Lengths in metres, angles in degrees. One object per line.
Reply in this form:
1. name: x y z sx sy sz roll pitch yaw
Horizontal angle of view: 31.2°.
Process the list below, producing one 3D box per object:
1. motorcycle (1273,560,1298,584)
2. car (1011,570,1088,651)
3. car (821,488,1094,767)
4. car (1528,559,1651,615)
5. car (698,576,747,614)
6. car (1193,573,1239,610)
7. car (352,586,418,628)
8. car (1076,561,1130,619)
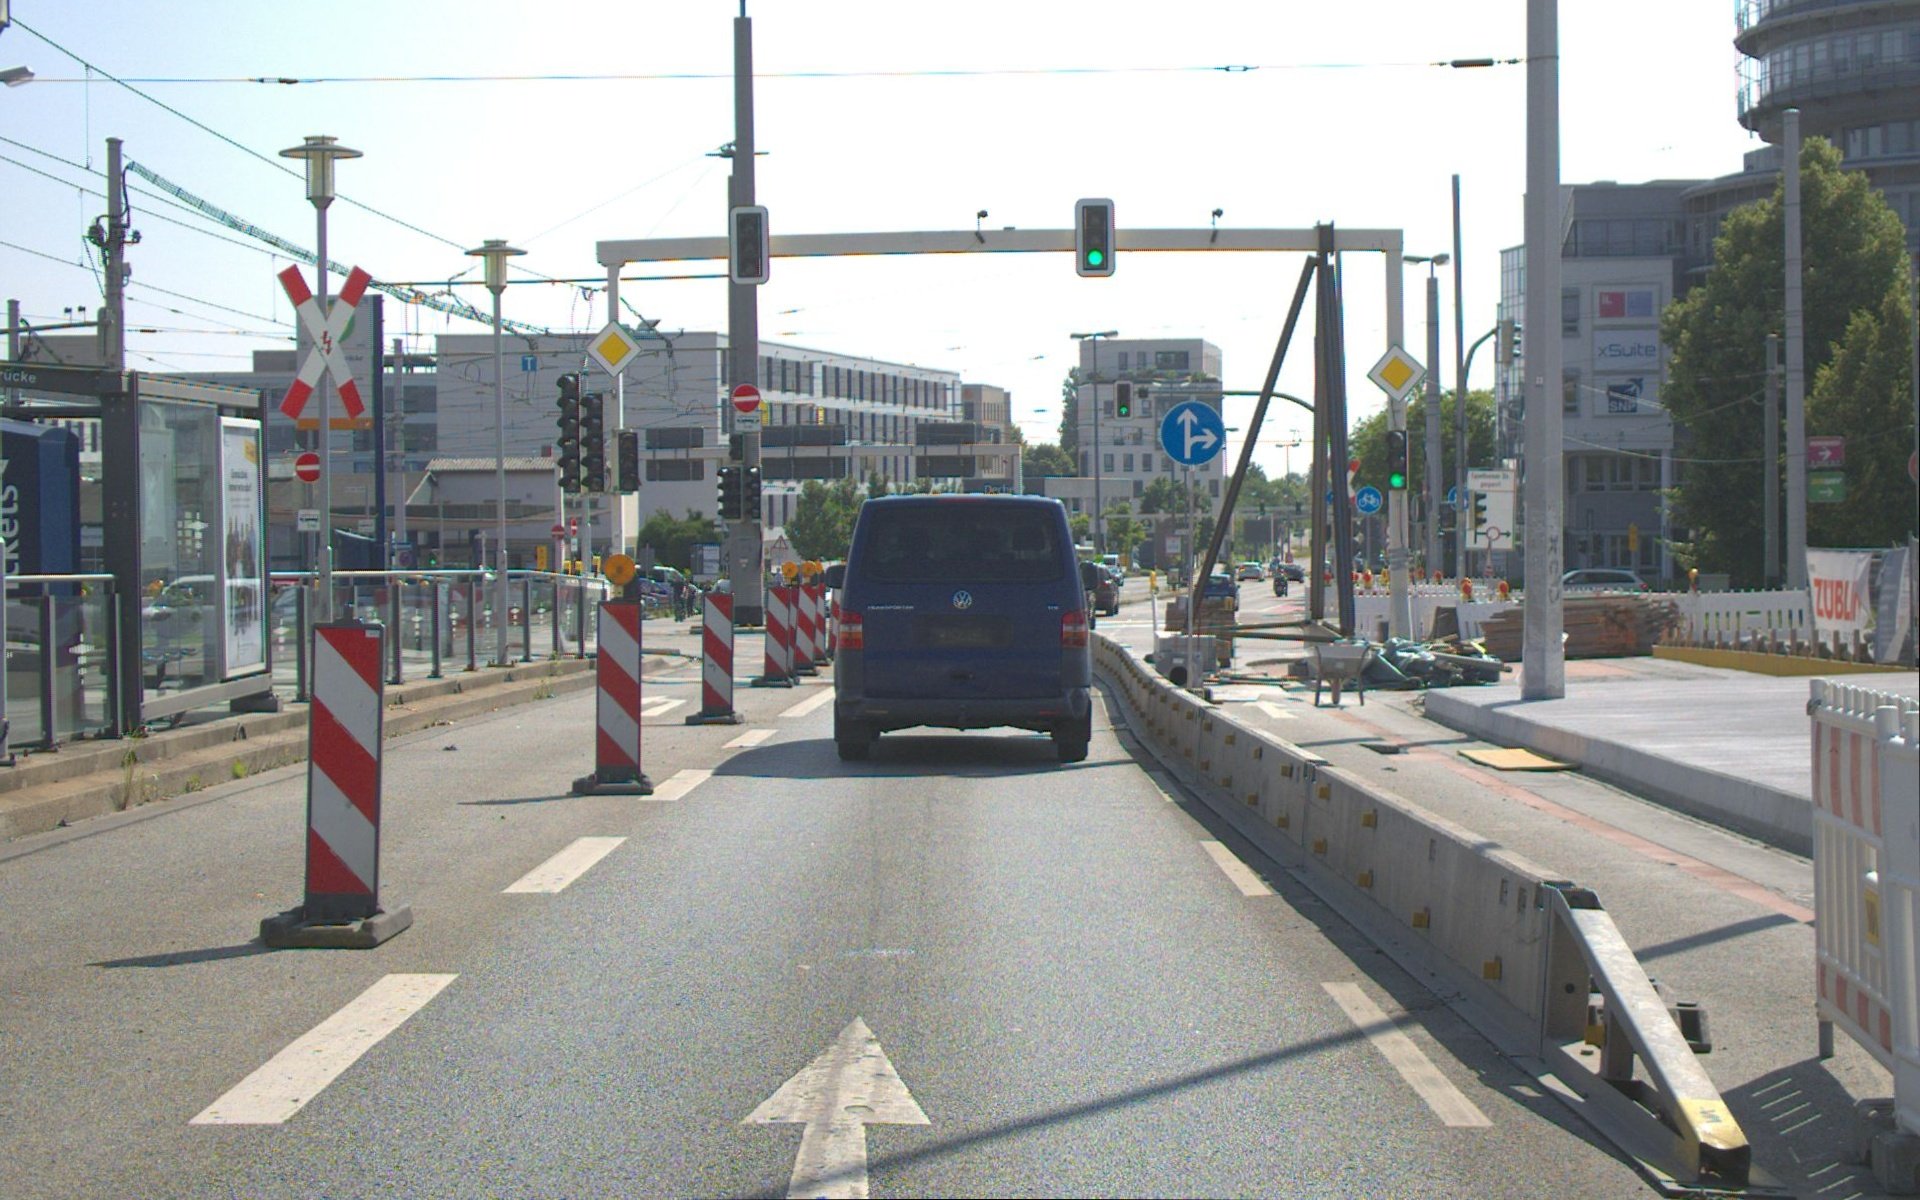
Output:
1. motorcycle: 17.431 -1.521 184.213 1.162 1.238 3.006 1 1 8
2. car: 2.076 0.215 78.899 1.645 1.722 4.000 1 1 3
3. car: -0.003 0.132 26.254 1.888 1.927 4.000 1 2 0
4. car: 21.241 -0.444 116.085 3.813 1.791 1.681 1 2 1
5. car: -9.498 -0.213 137.719 1.747 1.481 4.000 -1 1 -1
6. car: 10.446 -0.343 140.404 1.744 1.470 3.884 0 1 2
7. car: -21.923 0.270 131.166 1.777 1.532 4.000 0 1 1
8. car: 4.557 -0.335 109.312 1.645 1.722 3.717 1 1 3
